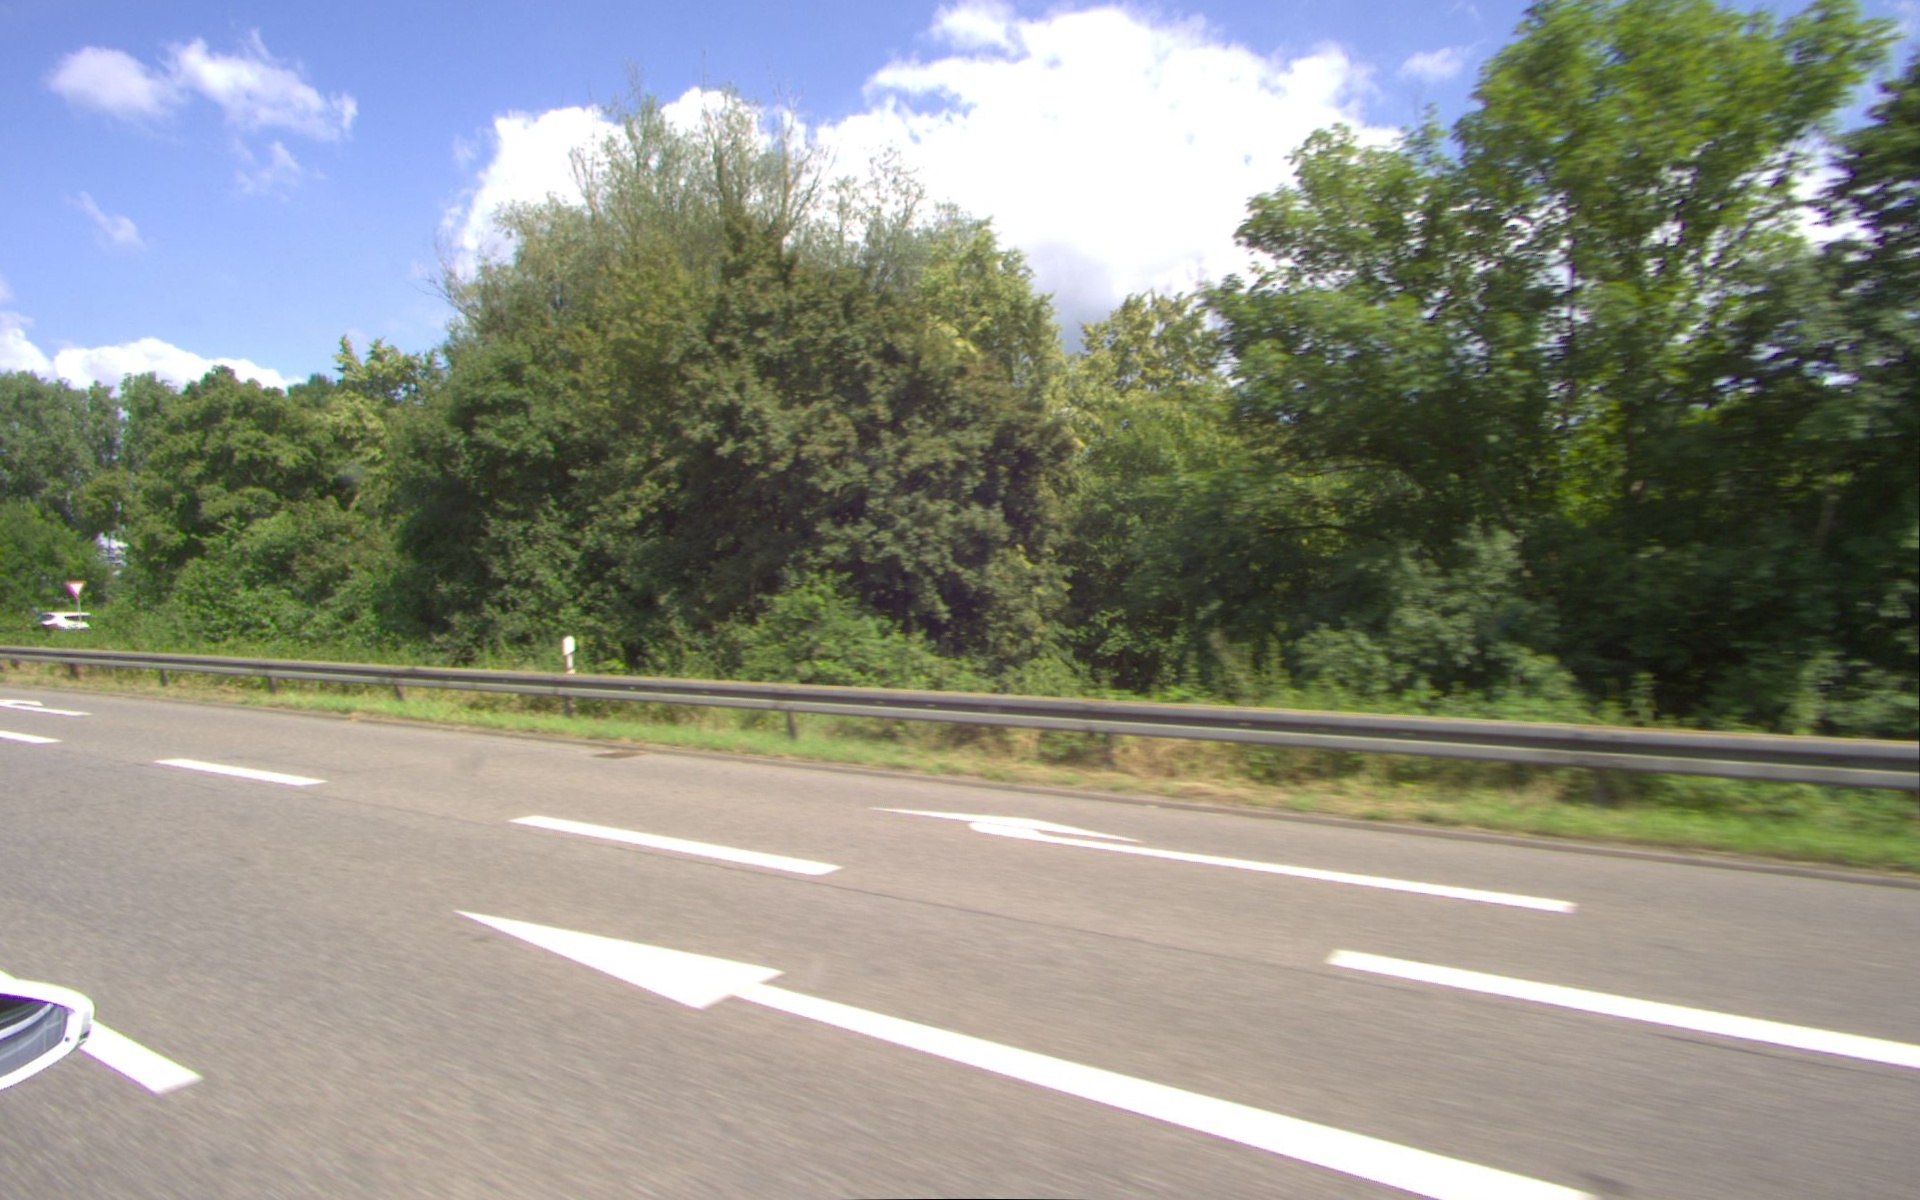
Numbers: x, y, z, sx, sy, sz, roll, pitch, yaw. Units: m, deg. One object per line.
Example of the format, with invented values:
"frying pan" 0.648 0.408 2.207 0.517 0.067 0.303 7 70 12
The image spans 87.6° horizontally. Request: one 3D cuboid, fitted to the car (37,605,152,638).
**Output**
"car" -44.241 1.152 51.286 1.922 1.527 4.032 -1 -3 20
